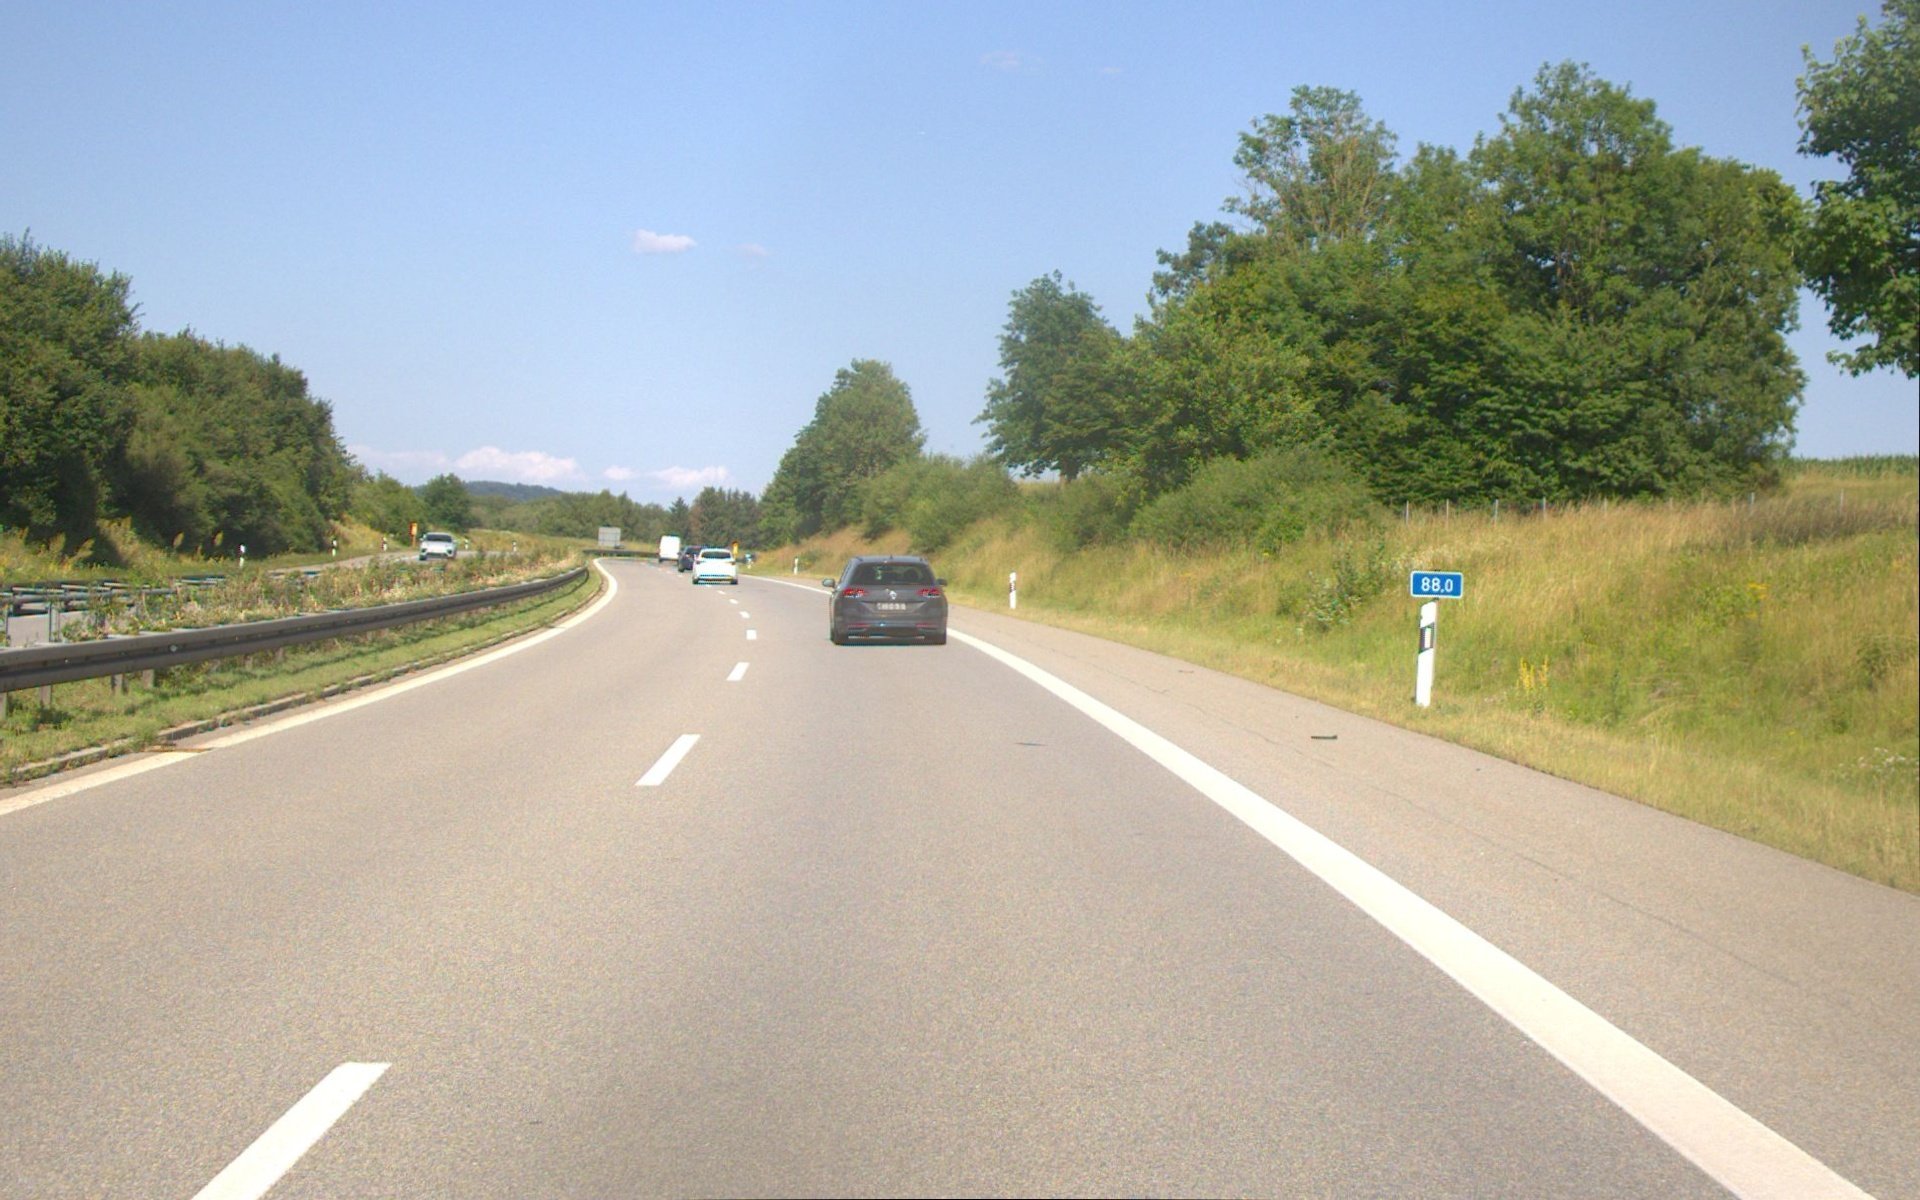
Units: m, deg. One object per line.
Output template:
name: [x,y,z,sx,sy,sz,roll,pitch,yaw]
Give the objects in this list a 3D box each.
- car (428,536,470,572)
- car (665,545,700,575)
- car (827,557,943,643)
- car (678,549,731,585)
car: [-28.832,-2.586,194.067,1.993,2.007,4.856,1,1,-5]
car: [-15.344,-2.207,190.316,1.710,1.382,3.355,6,-1,-3]
car: [-1.247,-0.022,55.400,1.791,1.340,4.000,0,1,-2]
car: [-10.164,-1.303,137.082,2.007,1.340,4.000,2,0,-3]
